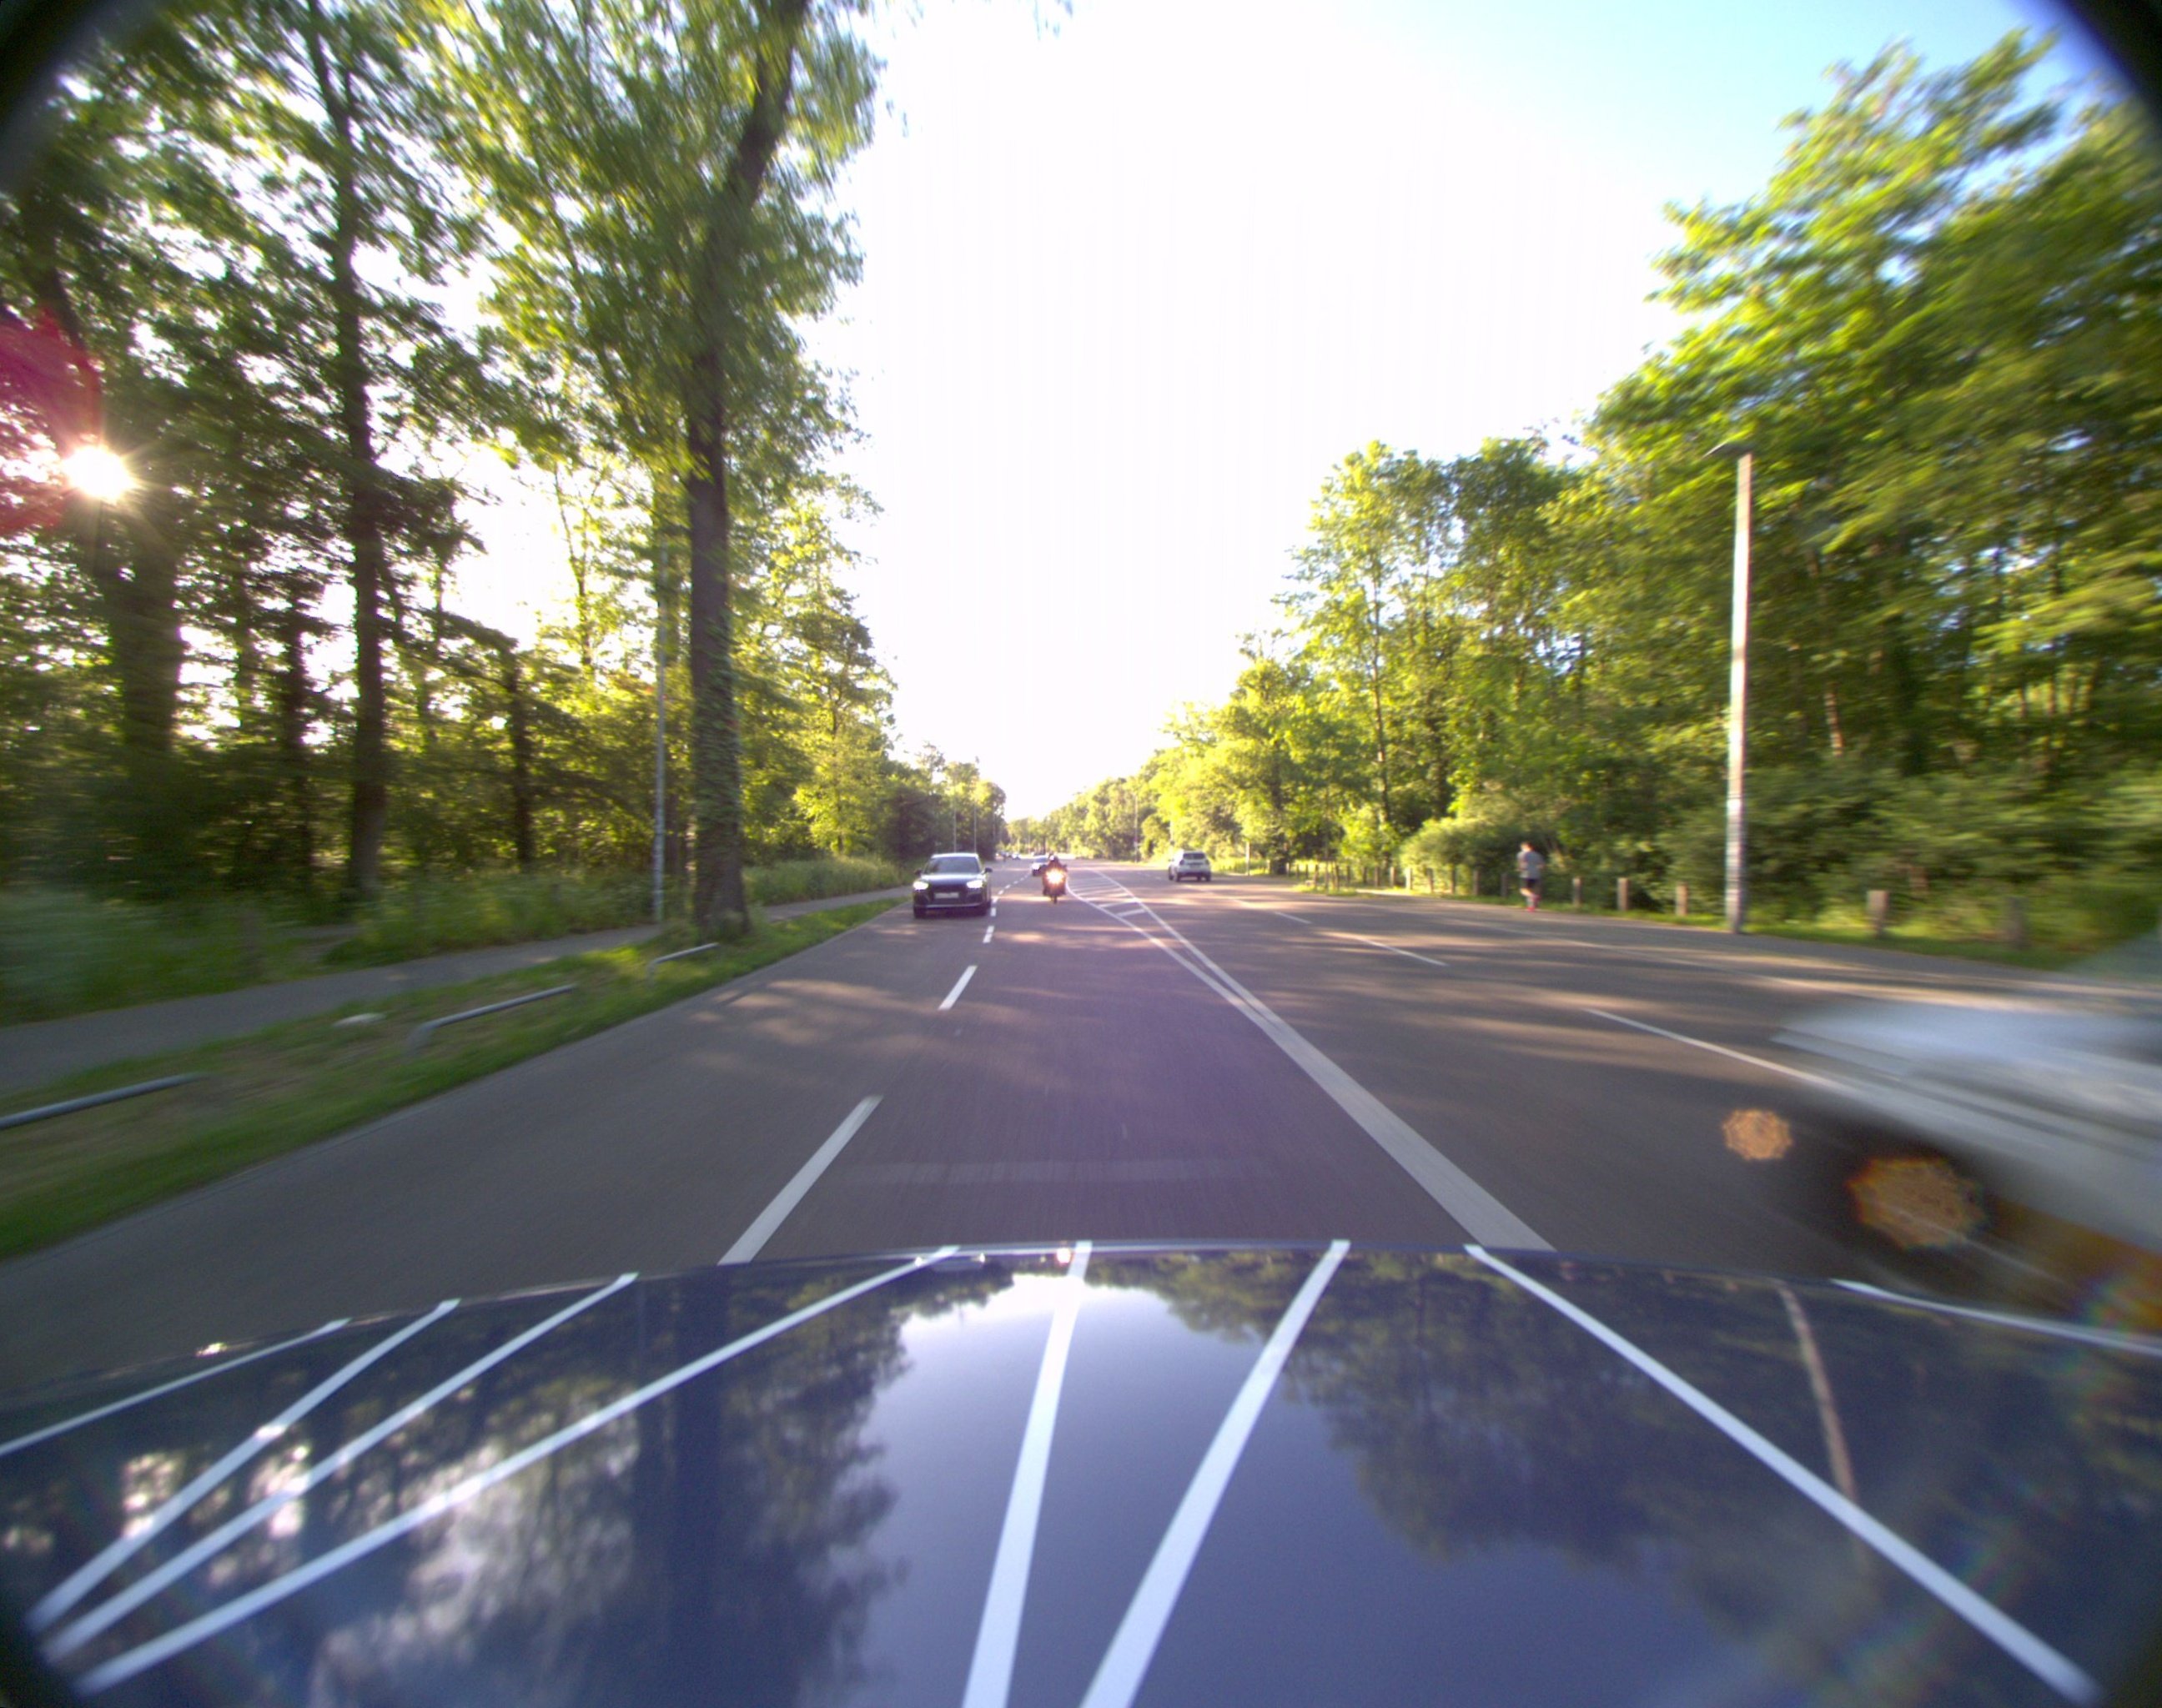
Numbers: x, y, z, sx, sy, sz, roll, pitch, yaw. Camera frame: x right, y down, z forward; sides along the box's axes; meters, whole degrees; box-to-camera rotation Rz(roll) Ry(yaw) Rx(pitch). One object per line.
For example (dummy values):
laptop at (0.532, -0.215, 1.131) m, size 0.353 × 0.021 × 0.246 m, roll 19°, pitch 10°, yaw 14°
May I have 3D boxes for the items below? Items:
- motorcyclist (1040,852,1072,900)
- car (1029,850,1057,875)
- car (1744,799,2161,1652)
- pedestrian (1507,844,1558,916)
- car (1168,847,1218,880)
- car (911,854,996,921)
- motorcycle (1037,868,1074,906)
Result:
motorcyclist at (-0.817, 0.728, 25.153) m, size 0.953 × 1.523 × 1.074 m, roll -2°, pitch 0°, yaw 2°
car at (-2.911, 0.634, 58.057) m, size 1.999 × 1.761 × 4.230 m, roll -2°, pitch 1°, yaw -3°
car at (3.134, 0.763, 0.130) m, size 1.910 × 1.746 × 4.800 m, roll 0°, pitch 0°, yaw 1°
pedestrian at (11.330, 0.638, 19.077) m, size 0.773 × 1.758 × 0.738 m, roll 1°, pitch 1°, yaw -4°
car at (5.923, 0.472, 40.654) m, size 1.998 × 1.649 × 4.448 m, roll -1°, pitch 0°, yaw 0°
car at (-3.425, 0.833, 21.041) m, size 1.862 × 1.608 × 3.998 m, roll -1°, pitch 1°, yaw -3°
motorcycle at (-0.799, 1.052, 25.292) m, size 0.956 × 1.098 × 3.340 m, roll -3°, pitch 0°, yaw 2°
